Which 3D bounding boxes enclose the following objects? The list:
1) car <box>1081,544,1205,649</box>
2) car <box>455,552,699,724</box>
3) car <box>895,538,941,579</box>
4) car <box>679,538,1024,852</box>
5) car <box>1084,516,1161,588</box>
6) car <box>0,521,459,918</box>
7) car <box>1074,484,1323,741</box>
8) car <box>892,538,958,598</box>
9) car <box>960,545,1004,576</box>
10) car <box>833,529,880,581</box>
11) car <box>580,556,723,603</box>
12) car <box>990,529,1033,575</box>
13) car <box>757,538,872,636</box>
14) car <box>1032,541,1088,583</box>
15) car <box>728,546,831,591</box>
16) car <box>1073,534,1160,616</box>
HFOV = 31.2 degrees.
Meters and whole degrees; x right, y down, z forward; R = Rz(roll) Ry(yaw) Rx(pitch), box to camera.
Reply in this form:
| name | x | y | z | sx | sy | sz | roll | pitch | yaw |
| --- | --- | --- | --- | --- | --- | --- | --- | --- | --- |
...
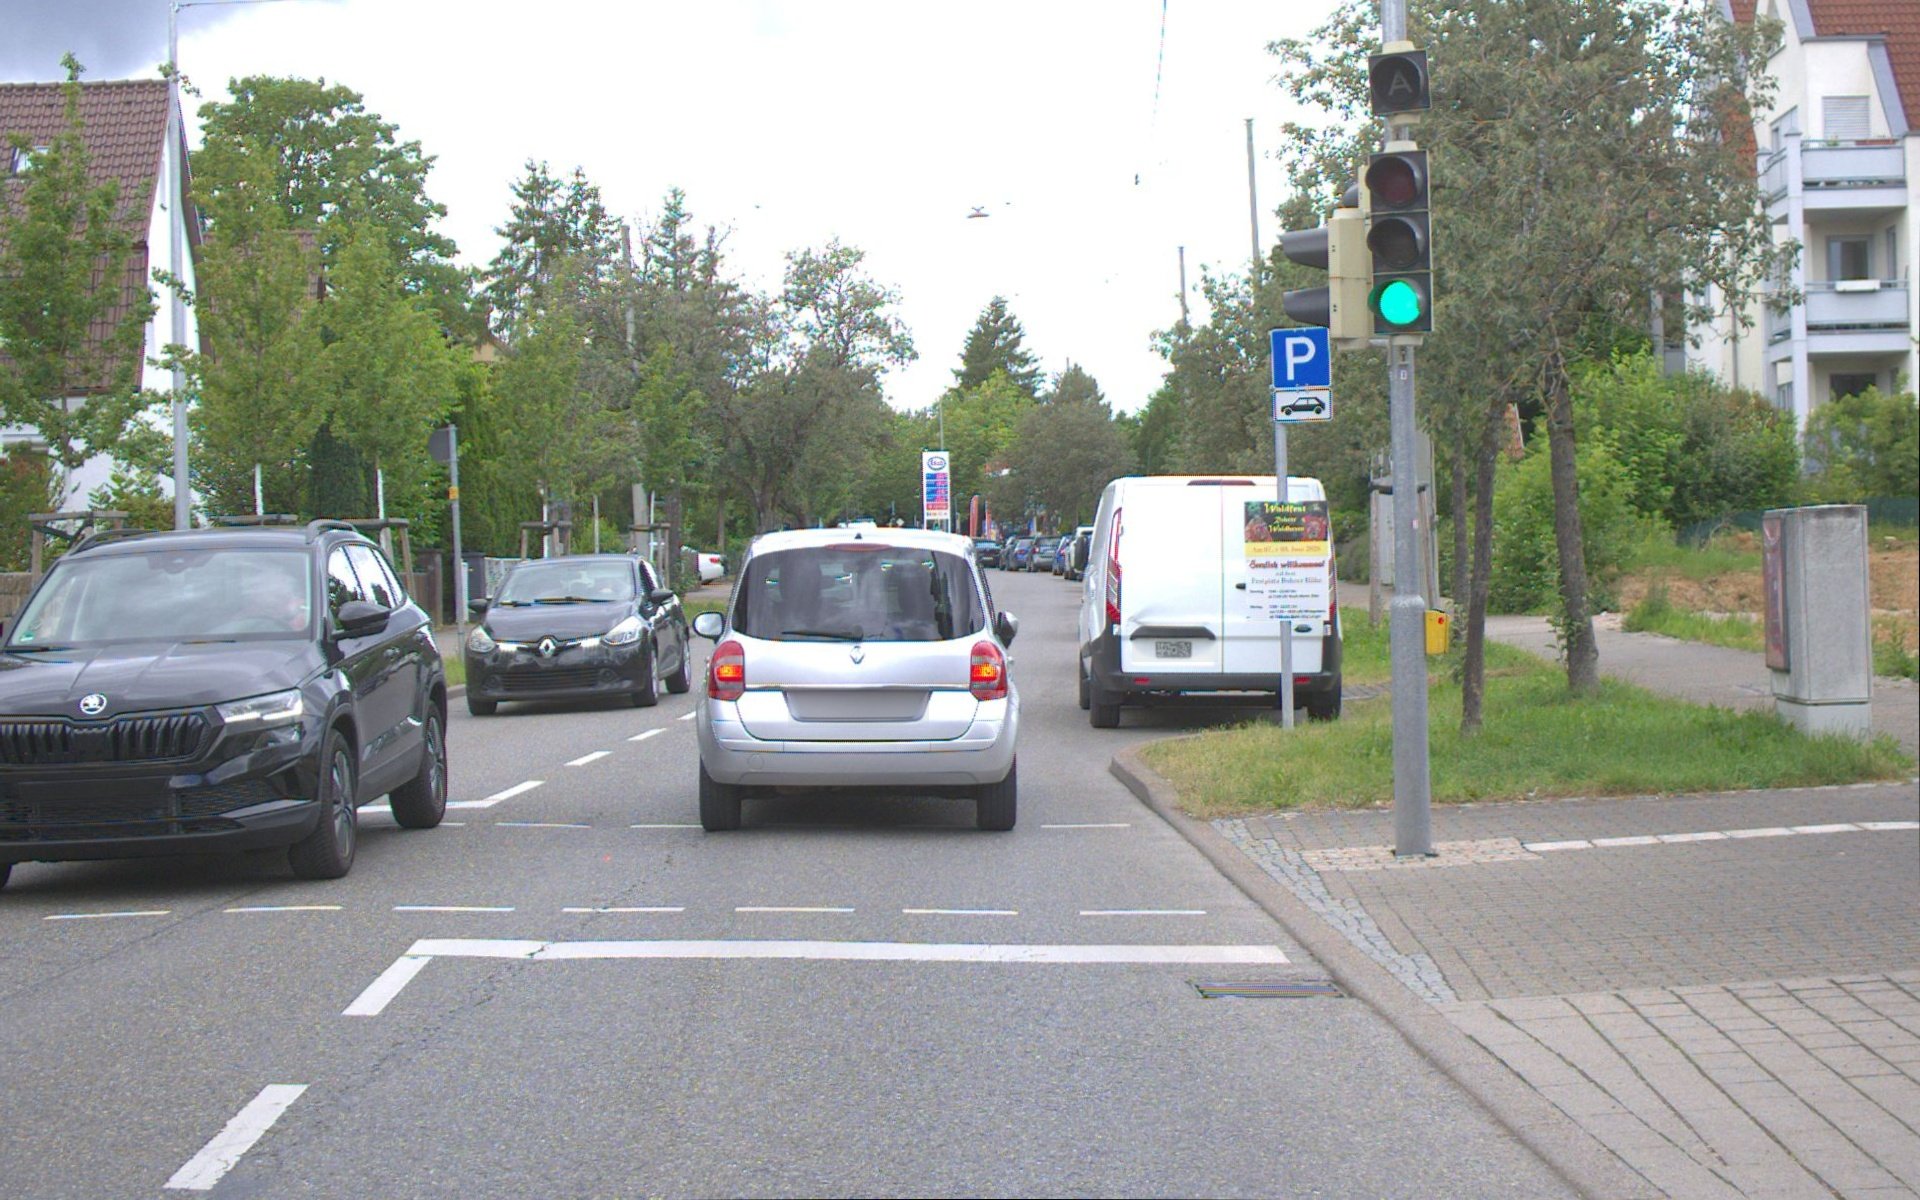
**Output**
| name | x | y | z | sx | sy | sz | roll | pitch | yaw |
| --- | --- | --- | --- | --- | --- | --- | --- | --- | --- |
| car | 2.597 | -0.083 | 49.669 | 1.693 | 1.448 | 4.404 | 0 | 1 | 2 |
| car | -3.570 | 0.311 | 32.630 | 1.616 | 1.467 | 4.000 | -2 | 1 | 3 |
| car | -1.887 | -1.847 | 153.633 | 1.835 | 1.708 | 4.000 | -3 | 1 | -2 |
| car | -0.508 | 0.448 | 18.873 | 1.679 | 1.554 | 3.511 | 0 | 1 | 2 |
| car | 4.130 | -1.235 | 88.041 | 1.830 | 1.706 | 4.549 | -3 | 1 | 2 |
| car | -3.696 | 0.482 | 16.432 | 1.895 | 1.619 | 4.000 | -2 | 1 | 1 |
| car | 1.888 | 0.060 | 28.429 | 1.775 | 1.937 | 4.789 | 0 | 1 | 1 |
| car | -1.071 | -0.997 | 106.746 | 1.795 | 1.746 | 4.298 | -2 | 1 | 2 |
| car | 1.089 | -1.992 | 173.635 | 1.695 | 1.501 | 3.973 | -1 | 1 | -7 |
| car | -5.350 | -2.326 | 178.119 | 2.073 | 2.574 | 5.300 | -3 | 1 | 1 |
| car | -9.374 | -0.615 | 104.593 | 4.277 | 1.363 | 1.816 | 1 | 0 | -5 |
| car | 3.268 | -3.031 | 218.757 | 2.281 | 2.901 | 5.280 | 0 | 0 | -4 |
| car | -2.711 | -0.262 | 64.945 | 1.814 | 1.687 | 4.466 | -3 | 1 | 1 |
| car | 3.685 | -1.408 | 126.757 | 1.626 | 1.447 | 3.876 | -2 | 1 | -4 |
| car | -7.467 | -1.305 | 142.636 | 4.087 | 1.700 | 1.747 | -3 | 0 | 2 |
| car | 3.136 | -0.510 | 69.478 | 1.688 | 1.603 | 4.109 | 0 | 1 | 2 |
